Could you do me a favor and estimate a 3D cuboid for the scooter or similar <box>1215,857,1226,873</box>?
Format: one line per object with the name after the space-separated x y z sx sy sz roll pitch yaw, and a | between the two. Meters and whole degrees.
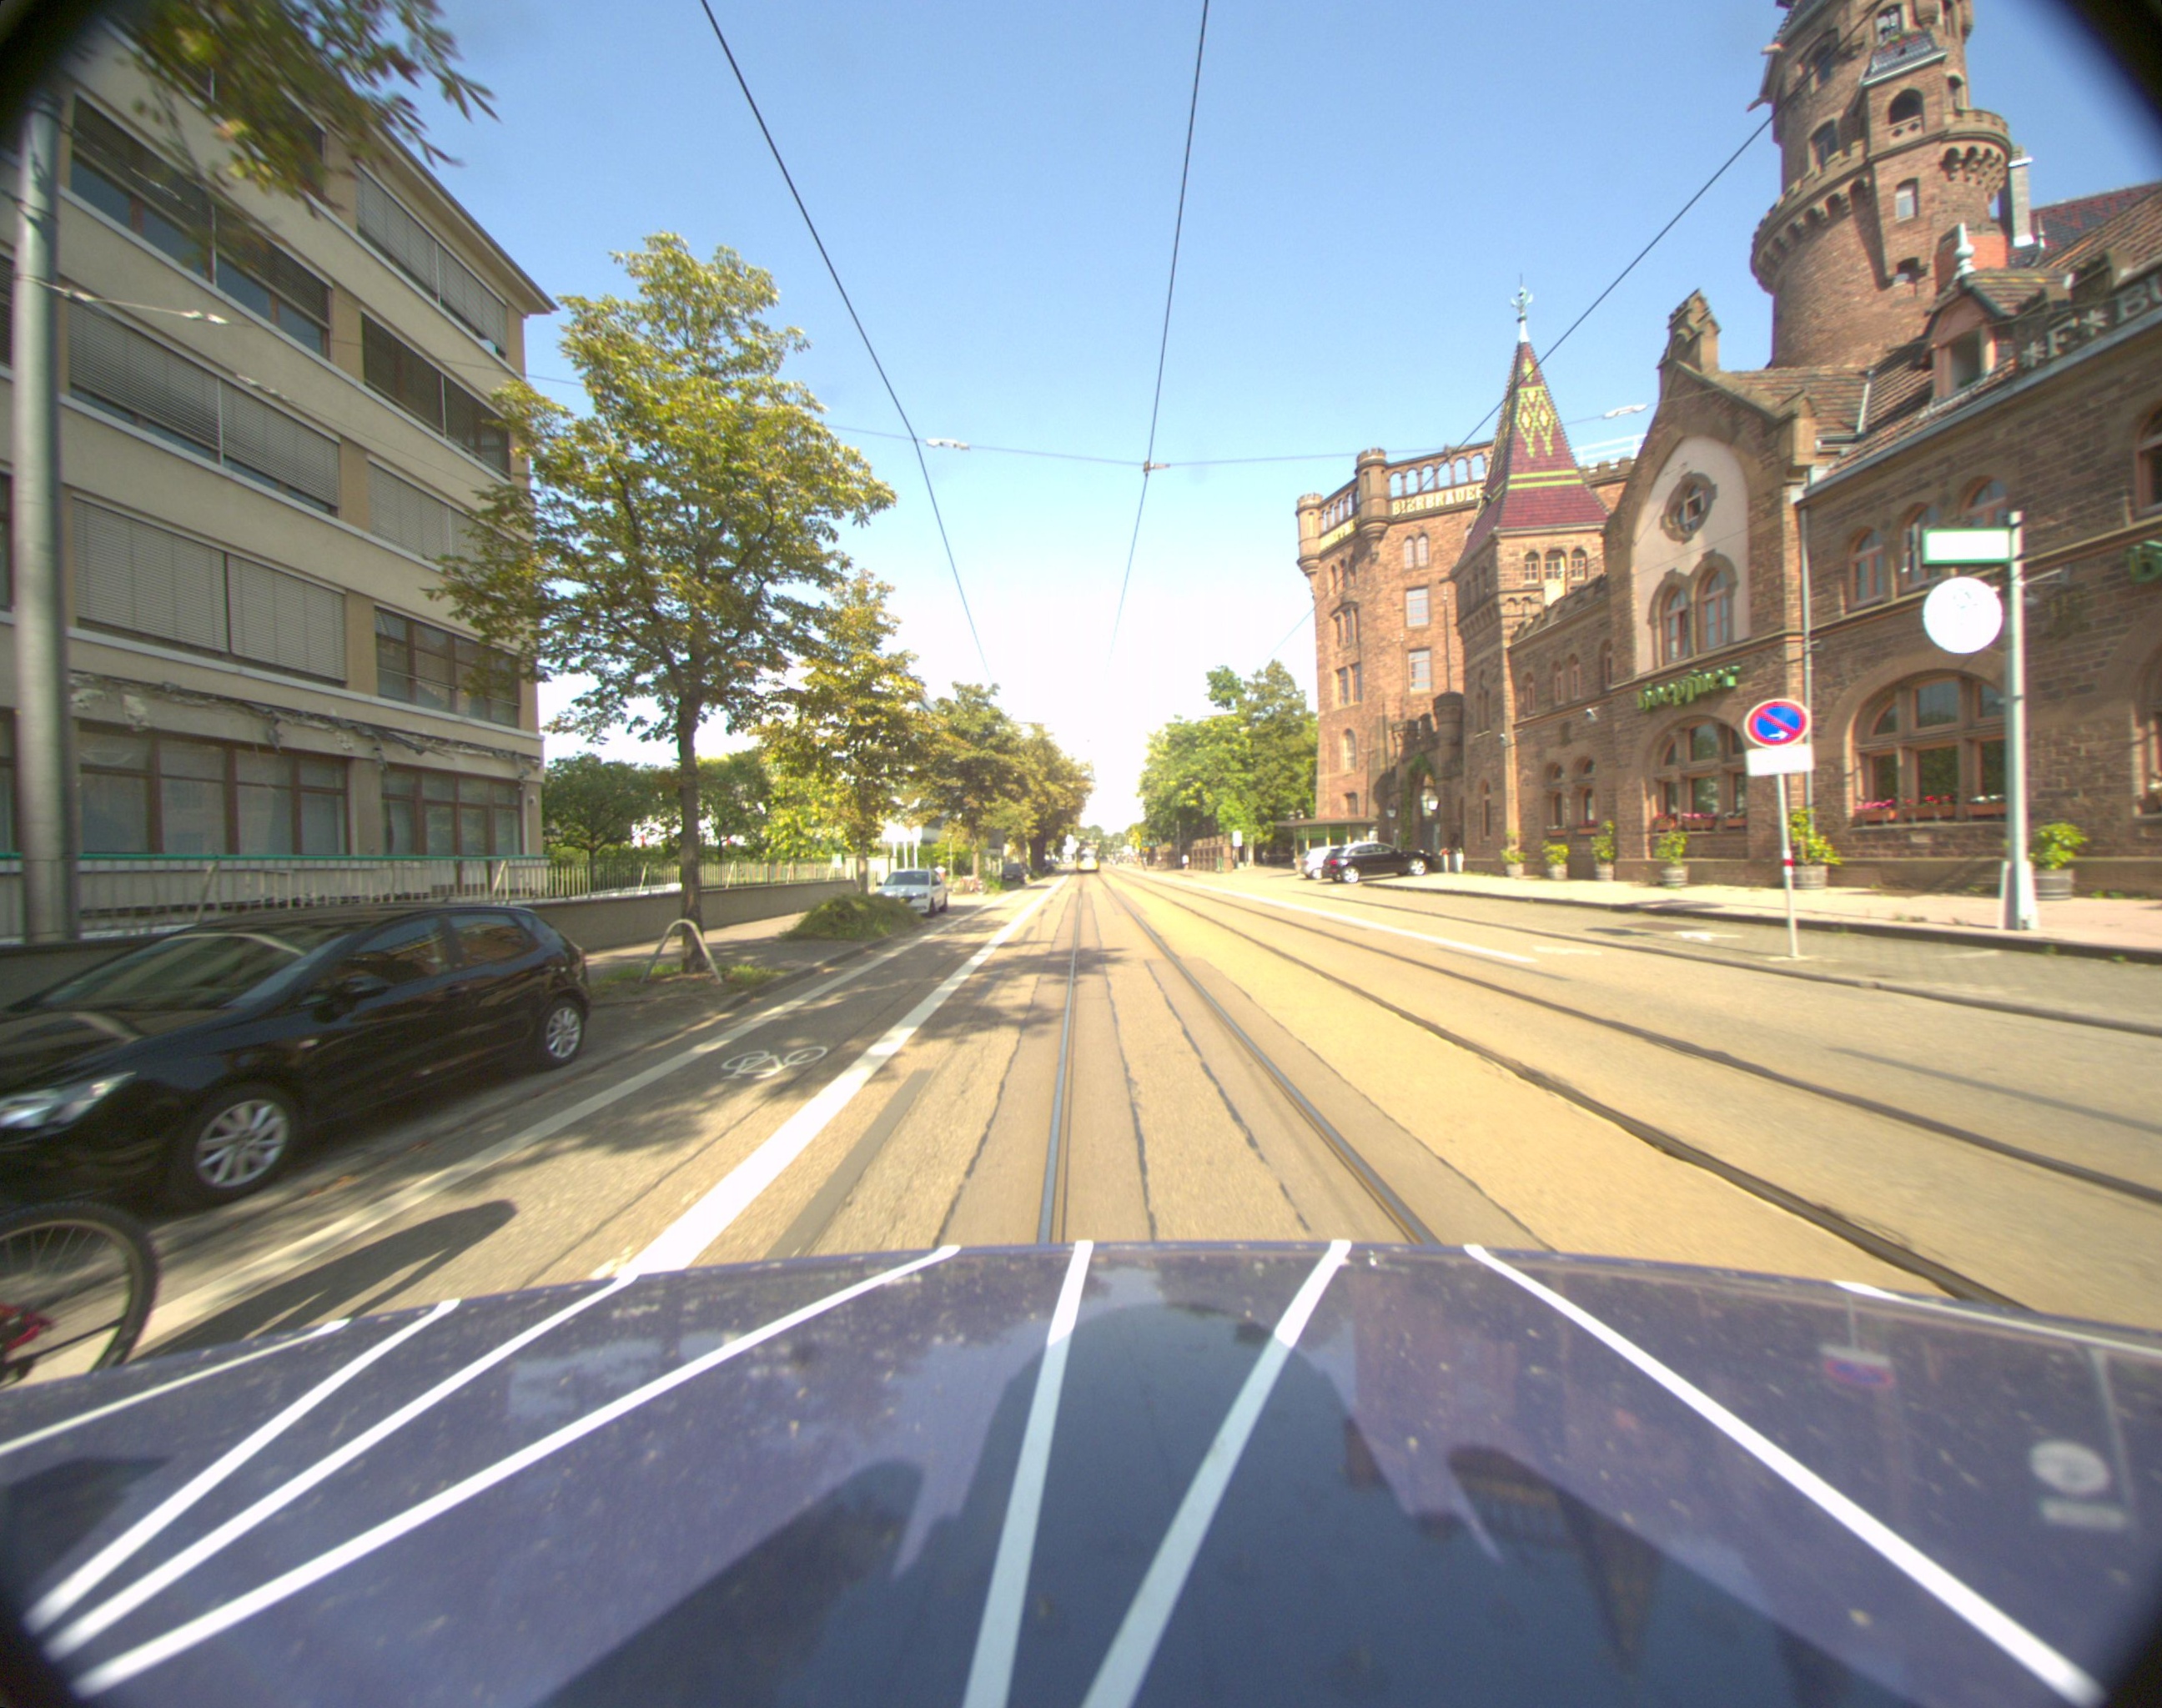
10.738 0.822 58.397 0.818 1.142 0.283 -5 3 -36 | scooter or similar

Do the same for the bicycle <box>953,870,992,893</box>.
-5.134 1.312 36.078 1.773 1.057 0.796 0 0 -2 | bicycle

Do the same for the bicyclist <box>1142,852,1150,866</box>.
7.568 0.534 88.378 0.699 1.571 1.087 -2 2 -2 | bicyclist

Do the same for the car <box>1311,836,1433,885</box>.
12.547 0.278 32.922 4.407 1.636 1.957 -6 0 1 | car

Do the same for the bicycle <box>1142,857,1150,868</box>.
7.569 0.986 88.401 0.699 1.151 2.037 -2 1 -2 | bicycle

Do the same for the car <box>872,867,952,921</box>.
-5.119 1.164 23.524 1.644 1.421 3.988 -1 0 -1 | car

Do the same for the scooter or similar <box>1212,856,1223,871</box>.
10.730 0.766 59.631 0.818 1.142 0.283 -5 3 -36 | scooter or similar

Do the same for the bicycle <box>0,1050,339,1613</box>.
-2.999 1.253 1.455 0.789 1.138 2.305 -2 0 2 | bicycle

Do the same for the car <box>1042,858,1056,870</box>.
-4.481 1.399 106.151 1.866 1.643 4.183 0 0 -1 | car

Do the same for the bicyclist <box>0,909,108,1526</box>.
-3.017 0.890 1.458 0.789 1.461 1.116 -2 0 2 | bicyclist

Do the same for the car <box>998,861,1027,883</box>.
-4.812 1.222 53.989 1.745 1.477 4.437 0 -1 -1 | car

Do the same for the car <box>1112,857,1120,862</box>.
9.205 1.431 200.228 1.694 1.433 4.000 -2 0 0 | car

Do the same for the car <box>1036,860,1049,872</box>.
-4.771 1.465 94.148 1.566 1.433 3.563 1 0 -2 | car

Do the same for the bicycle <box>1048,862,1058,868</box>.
-4.313 1.697 117.126 1.621 1.009 0.382 -2 0 -3 | bicycle

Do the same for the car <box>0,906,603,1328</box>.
-5.133 1.177 4.814 1.650 1.420 4.084 0 0 -1 | car

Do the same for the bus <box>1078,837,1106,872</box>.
1.356 0.017 87.697 2.900 3.771 9.320 -2 0 3 | bus

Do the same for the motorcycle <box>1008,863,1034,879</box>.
-4.820 1.369 61.347 1.984 1.218 0.647 -2 1 25 | motorcycle

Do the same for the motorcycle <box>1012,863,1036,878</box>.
-4.899 1.392 65.458 2.061 1.235 0.846 0 0 39 | motorcycle

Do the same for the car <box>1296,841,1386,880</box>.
13.270 0.346 39.005 3.908 1.586 1.823 -6 0 3 | car

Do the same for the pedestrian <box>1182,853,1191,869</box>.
10.490 0.683 75.840 0.717 1.580 0.775 -2 1 0 | pedestrian
